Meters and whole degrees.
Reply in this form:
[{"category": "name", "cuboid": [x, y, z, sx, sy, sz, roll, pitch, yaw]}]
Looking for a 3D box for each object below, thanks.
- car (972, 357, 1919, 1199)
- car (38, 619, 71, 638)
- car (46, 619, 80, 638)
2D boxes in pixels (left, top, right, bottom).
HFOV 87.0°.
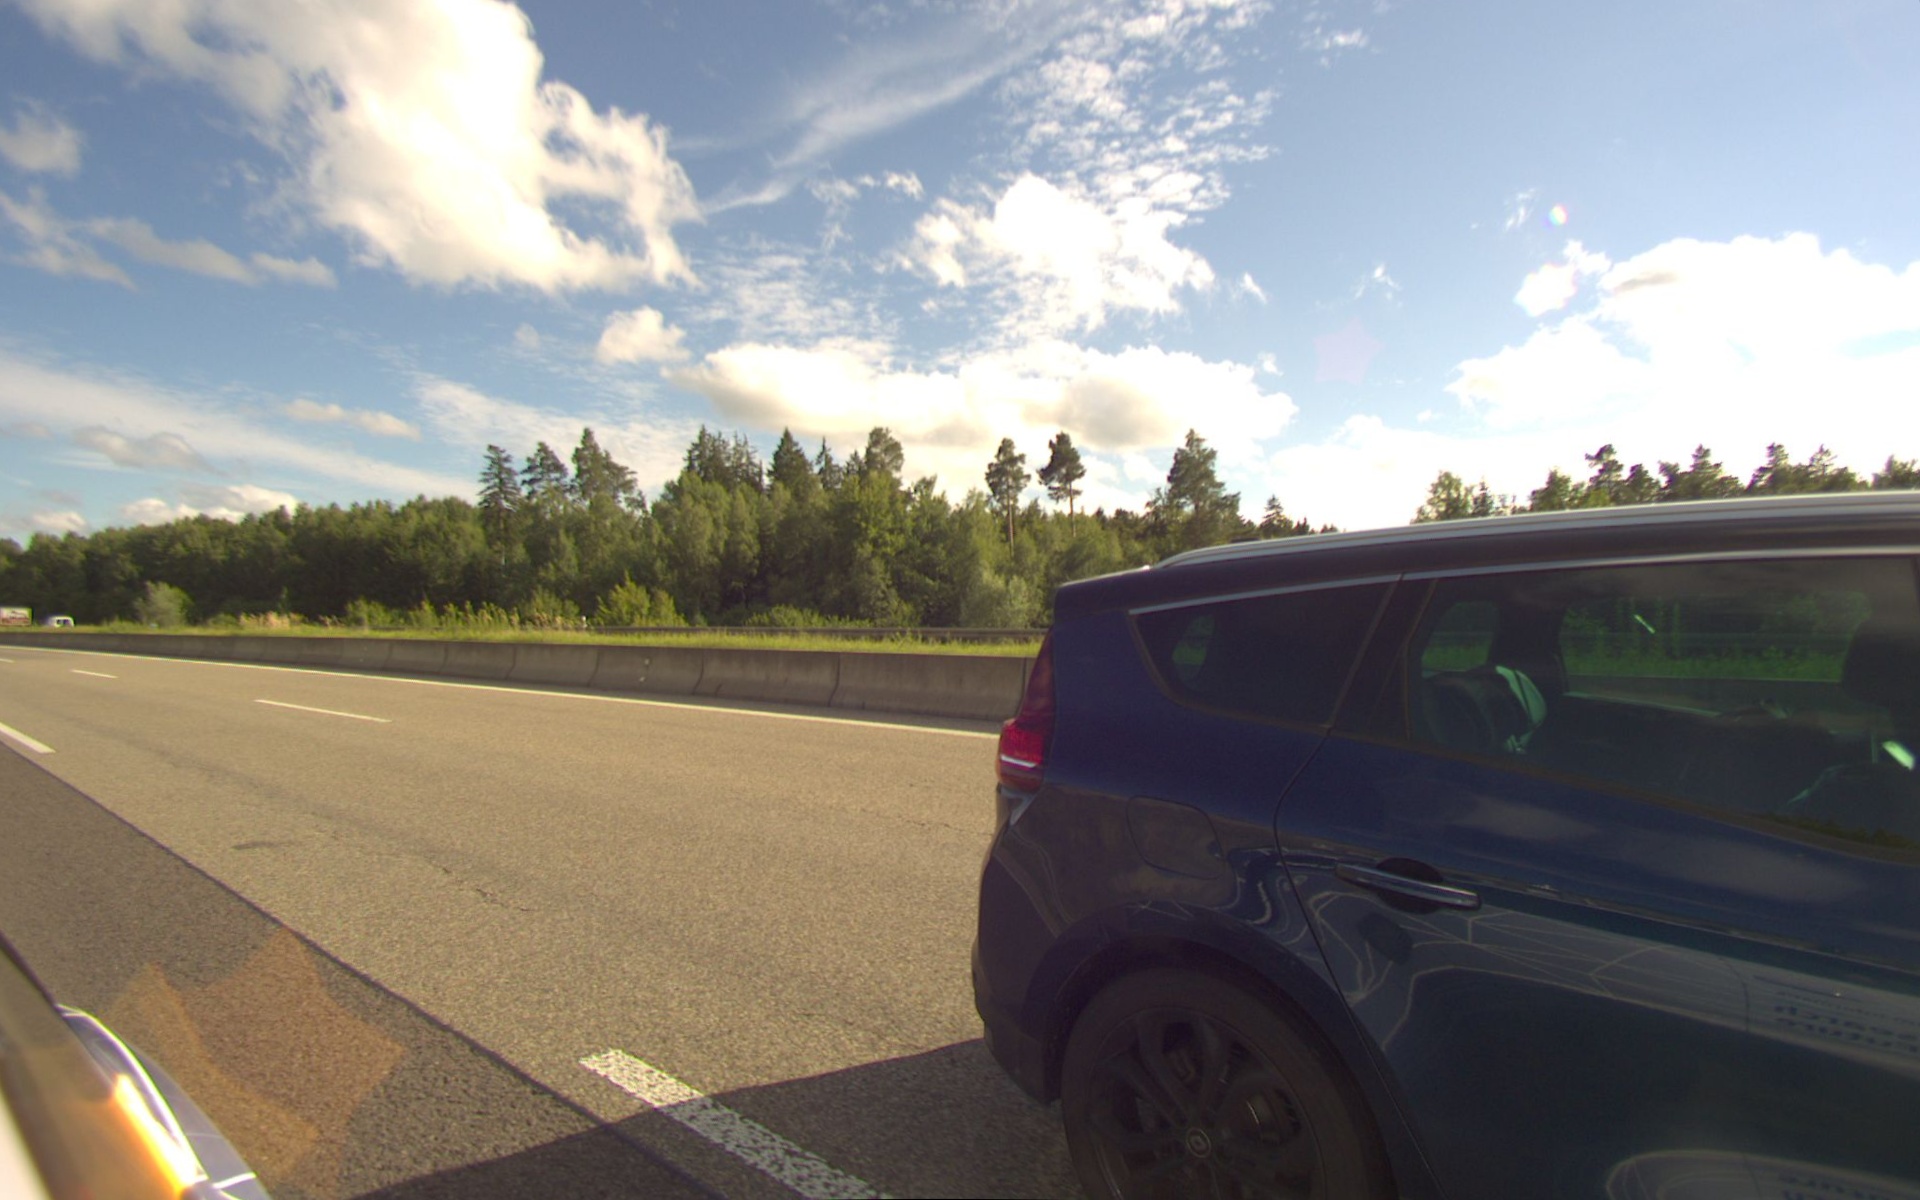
[{"category": "car", "cuboid": [2.377, 0.532, 1.598, 4.527, 1.720, 1.973, -1, -1, 42]}, {"category": "car", "cuboid": [-99.549, 3.149, 111.285, 5.382, 2.029, 1.973, -2, -1, 40]}, {"category": "car", "cuboid": [-95.961, 3.048, 108.266, 5.382, 2.029, 1.973, -2, -1, 40]}]
